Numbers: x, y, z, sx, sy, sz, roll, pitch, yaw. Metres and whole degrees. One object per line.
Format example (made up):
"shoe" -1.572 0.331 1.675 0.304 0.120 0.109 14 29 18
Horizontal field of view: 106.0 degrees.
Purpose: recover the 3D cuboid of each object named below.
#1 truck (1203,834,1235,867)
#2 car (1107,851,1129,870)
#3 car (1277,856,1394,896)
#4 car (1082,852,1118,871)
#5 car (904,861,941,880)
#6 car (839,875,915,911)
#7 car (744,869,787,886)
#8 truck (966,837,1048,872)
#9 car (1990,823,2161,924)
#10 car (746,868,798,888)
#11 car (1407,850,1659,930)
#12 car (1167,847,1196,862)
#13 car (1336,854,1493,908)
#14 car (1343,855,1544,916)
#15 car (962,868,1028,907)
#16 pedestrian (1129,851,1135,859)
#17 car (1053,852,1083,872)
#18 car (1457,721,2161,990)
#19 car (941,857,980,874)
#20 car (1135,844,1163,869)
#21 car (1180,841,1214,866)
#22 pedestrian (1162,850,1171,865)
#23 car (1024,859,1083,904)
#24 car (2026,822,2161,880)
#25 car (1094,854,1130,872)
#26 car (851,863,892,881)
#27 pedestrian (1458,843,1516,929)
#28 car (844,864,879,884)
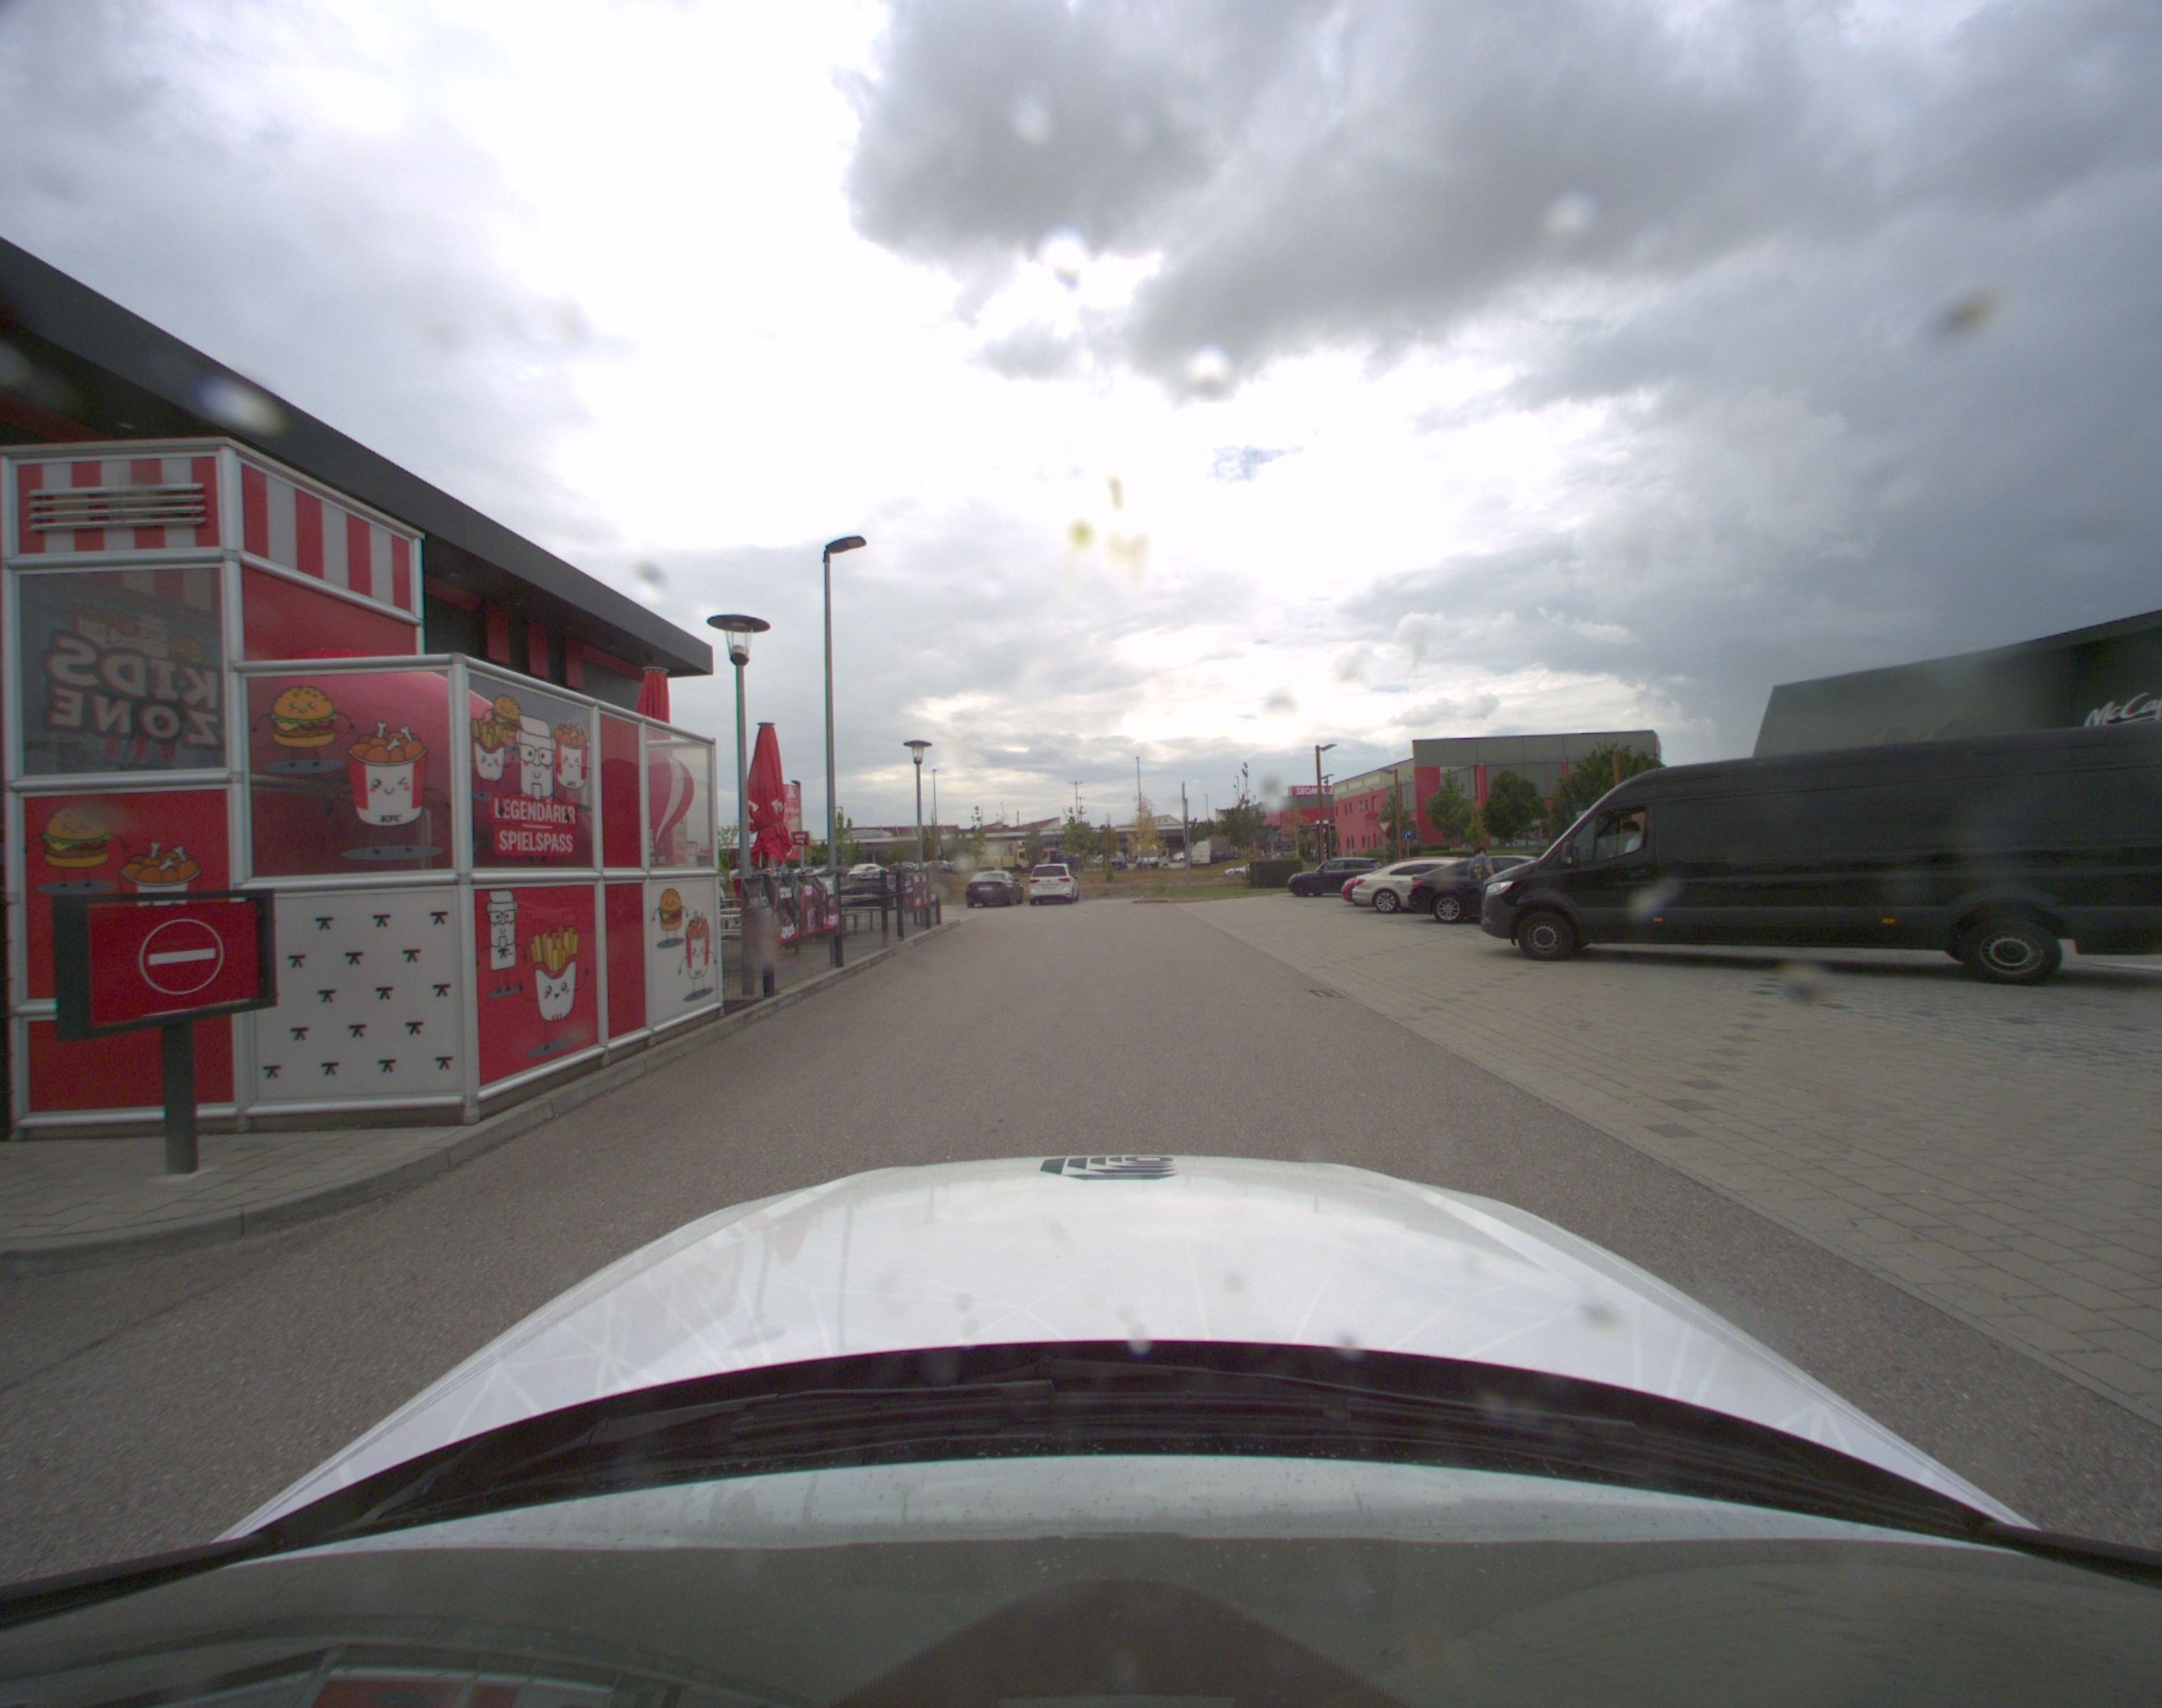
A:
"truck" 16.847 -0.486 99.985 2.638 3.743 8.259 -2 1 1
"car" 3.595 0.595 79.432 2.063 1.638 5.074 -2 1 2
"car" 9.674 0.831 31.100 3.880 1.412 1.698 -2 -1 39
"car" 2.195 0.884 94.888 3.981 2.013 1.997 -3 1 -5
"car" -16.079 1.663 83.069 1.911 1.771 4.339 -2 1 15
"car" -8.580 1.629 34.611 1.873 1.412 4.075 -2 -2 4
"car" -34.625 2.574 89.512 1.975 1.539 4.185 -2 1 25
"truck" -7.467 0.086 81.600 8.323 3.196 3.049 -2 1 40
"car" 17.884 0.271 14.656 1.747 1.510 4.024 -2 1 45
"car" -24.384 1.918 64.294 3.429 1.370 1.436 -2 1 7
"car" 9.424 0.709 17.219 4.351 1.463 1.697 -2 -1 43
"car" 14.488 0.064 117.471 3.968 1.837 2.003 -2 1 5
"car" 9.851 0.767 24.214 3.948 1.464 1.698 -2 -1 40
"car" 9.318 0.775 21.147 4.402 1.412 1.764 -2 -1 41
"car" -3.537 1.400 34.275 1.932 1.466 4.521 -2 -2 4
"pedestrian" 8.661 0.182 139.026 0.656 1.429 0.790 -3 1 -35
"car" -1.240 0.760 80.585 2.059 1.885 5.081 -2 -1 8
"car" 8.812 0.065 10.404 6.923 2.553 2.086 -2 -1 41
"car" -14.502 1.379 98.057 4.290 1.771 2.001 -2 1 2
"car" 6.598 0.177 79.587 2.399 2.214 6.064 -2 1 2
"car" 11.242 -0.082 79.343 2.330 2.267 6.506 -2 1 0
"pedestrian" 8.224 0.331 78.282 0.781 1.429 0.979 -2 1 4
"car" -1.079 1.158 34.190 1.977 1.713 4.377 -2 -2 4
"car" 30.919 -0.094 23.891 3.854 1.584 1.762 -2 1 38
"car" 3.451 0.962 90.580 3.972 1.738 1.892 -2 1 2
"car" -23.283 2.001 90.526 3.952 1.771 2.011 -2 1 21
"pedestrian" 8.215 0.642 16.472 0.832 1.678 0.754 -3 -3 43
"car" -22.931 2.062 85.243 1.983 1.771 4.331 -2 1 7
